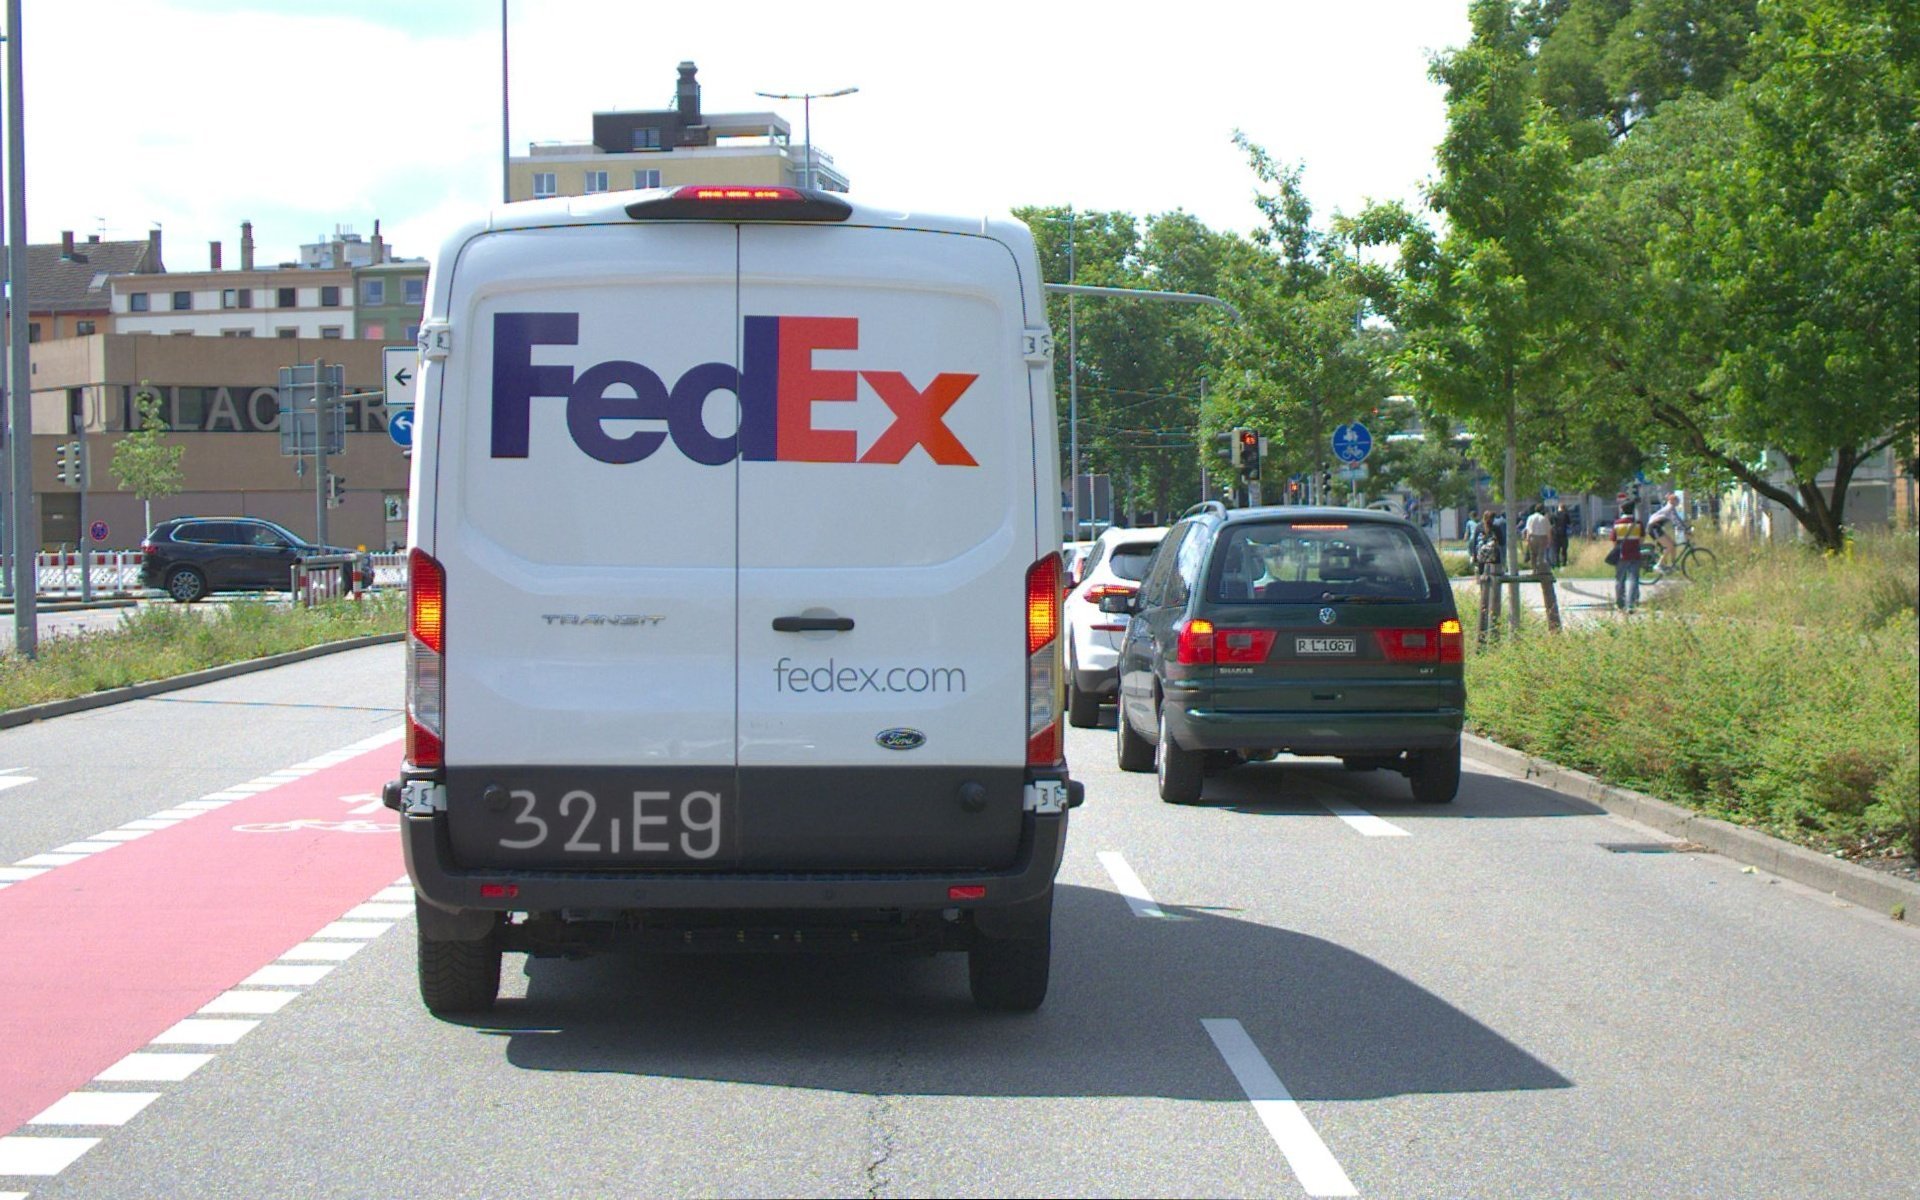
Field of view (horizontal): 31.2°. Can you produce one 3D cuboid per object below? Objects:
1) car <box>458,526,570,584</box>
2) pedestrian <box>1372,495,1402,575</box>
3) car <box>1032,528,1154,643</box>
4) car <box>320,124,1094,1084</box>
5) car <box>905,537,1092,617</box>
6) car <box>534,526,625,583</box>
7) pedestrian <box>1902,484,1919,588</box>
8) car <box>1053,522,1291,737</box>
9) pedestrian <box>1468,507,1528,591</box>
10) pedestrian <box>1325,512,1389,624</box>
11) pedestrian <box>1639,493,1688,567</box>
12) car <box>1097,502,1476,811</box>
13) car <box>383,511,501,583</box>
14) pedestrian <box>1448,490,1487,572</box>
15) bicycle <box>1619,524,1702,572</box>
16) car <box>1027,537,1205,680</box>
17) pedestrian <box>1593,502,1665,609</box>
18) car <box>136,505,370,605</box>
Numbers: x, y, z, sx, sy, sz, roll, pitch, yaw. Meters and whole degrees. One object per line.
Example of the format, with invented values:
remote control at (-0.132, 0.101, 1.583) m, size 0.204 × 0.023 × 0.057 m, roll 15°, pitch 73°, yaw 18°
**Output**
car at (-12.735, -1.287, 98.389) m, size 1.902 × 1.579 × 3.998 m, roll -1°, pitch 1°, yaw 13°
pedestrian at (10.138, -1.556, 81.640) m, size 0.574 × 1.886 × 0.679 m, roll -1°, pitch 1°, yaw -2°
car at (1.714, -0.220, 45.147) m, size 1.484 × 1.423 × 3.433 m, roll -1°, pitch 1°, yaw 0°
car at (-0.972, -0.041, 12.405) m, size 2.140 × 2.643 × 5.705 m, roll 0°, pitch 1°, yaw -6°
car at (0.925, -0.554, 80.247) m, size 1.998 × 1.787 × 4.361 m, roll 0°, pitch 1°, yaw 41°
car at (-11.565, -1.383, 104.600) m, size 1.879 × 1.646 × 3.999 m, roll -1°, pitch 1°, yaw 7°
pedestrian at (19.369, -1.283, 68.619) m, size 0.738 × 2.051 × 0.848 m, roll -1°, pitch 1°, yaw -18°
car at (1.739, 0.190, 29.323) m, size 1.798 × 1.681 × 4.000 m, roll -1°, pitch 1°, yaw 0°
pedestrian at (8.912, -0.848, 57.004) m, size 0.845 × 1.384 × 0.741 m, roll -1°, pitch 1°, yaw -2°
pedestrian at (6.730, -0.546, 58.328) m, size 0.950 × 1.886 × 0.774 m, roll -1°, pitch 1°, yaw -2°
pedestrian at (14.090, -1.392, 68.821) m, size 0.900 × 1.467 × 0.485 m, roll 0°, pitch 1°, yaw 18°
car at (1.912, 0.263, 21.408) m, size 1.812 × 1.728 × 4.389 m, roll 0°, pitch 1°, yaw -2°
car at (-14.888, -1.527, 99.026) m, size 1.995 × 2.007 × 3.998 m, roll -1°, pitch 1°, yaw 13°
pedestrian at (11.664, -1.588, 79.024) m, size 0.679 × 1.886 × 0.574 m, roll 1°, pitch 2°, yaw 43°
bicycle at (14.029, -1.042, 68.857) m, size 1.572 × 0.952 × 0.485 m, roll 0°, pitch 1°, yaw 18°
car at (1.669, 0.055, 37.852) m, size 1.798 × 1.456 × 3.838 m, roll -1°, pitch 1°, yaw 0°
pedestrian at (9.716, -0.653, 49.955) m, size 0.845 × 1.533 × 0.835 m, roll -1°, pitch 1°, yaw -2°
car at (-14.896, -0.957, 72.609) m, size 4.628 × 2.007 × 2.100 m, roll -1°, pitch 1°, yaw -6°
